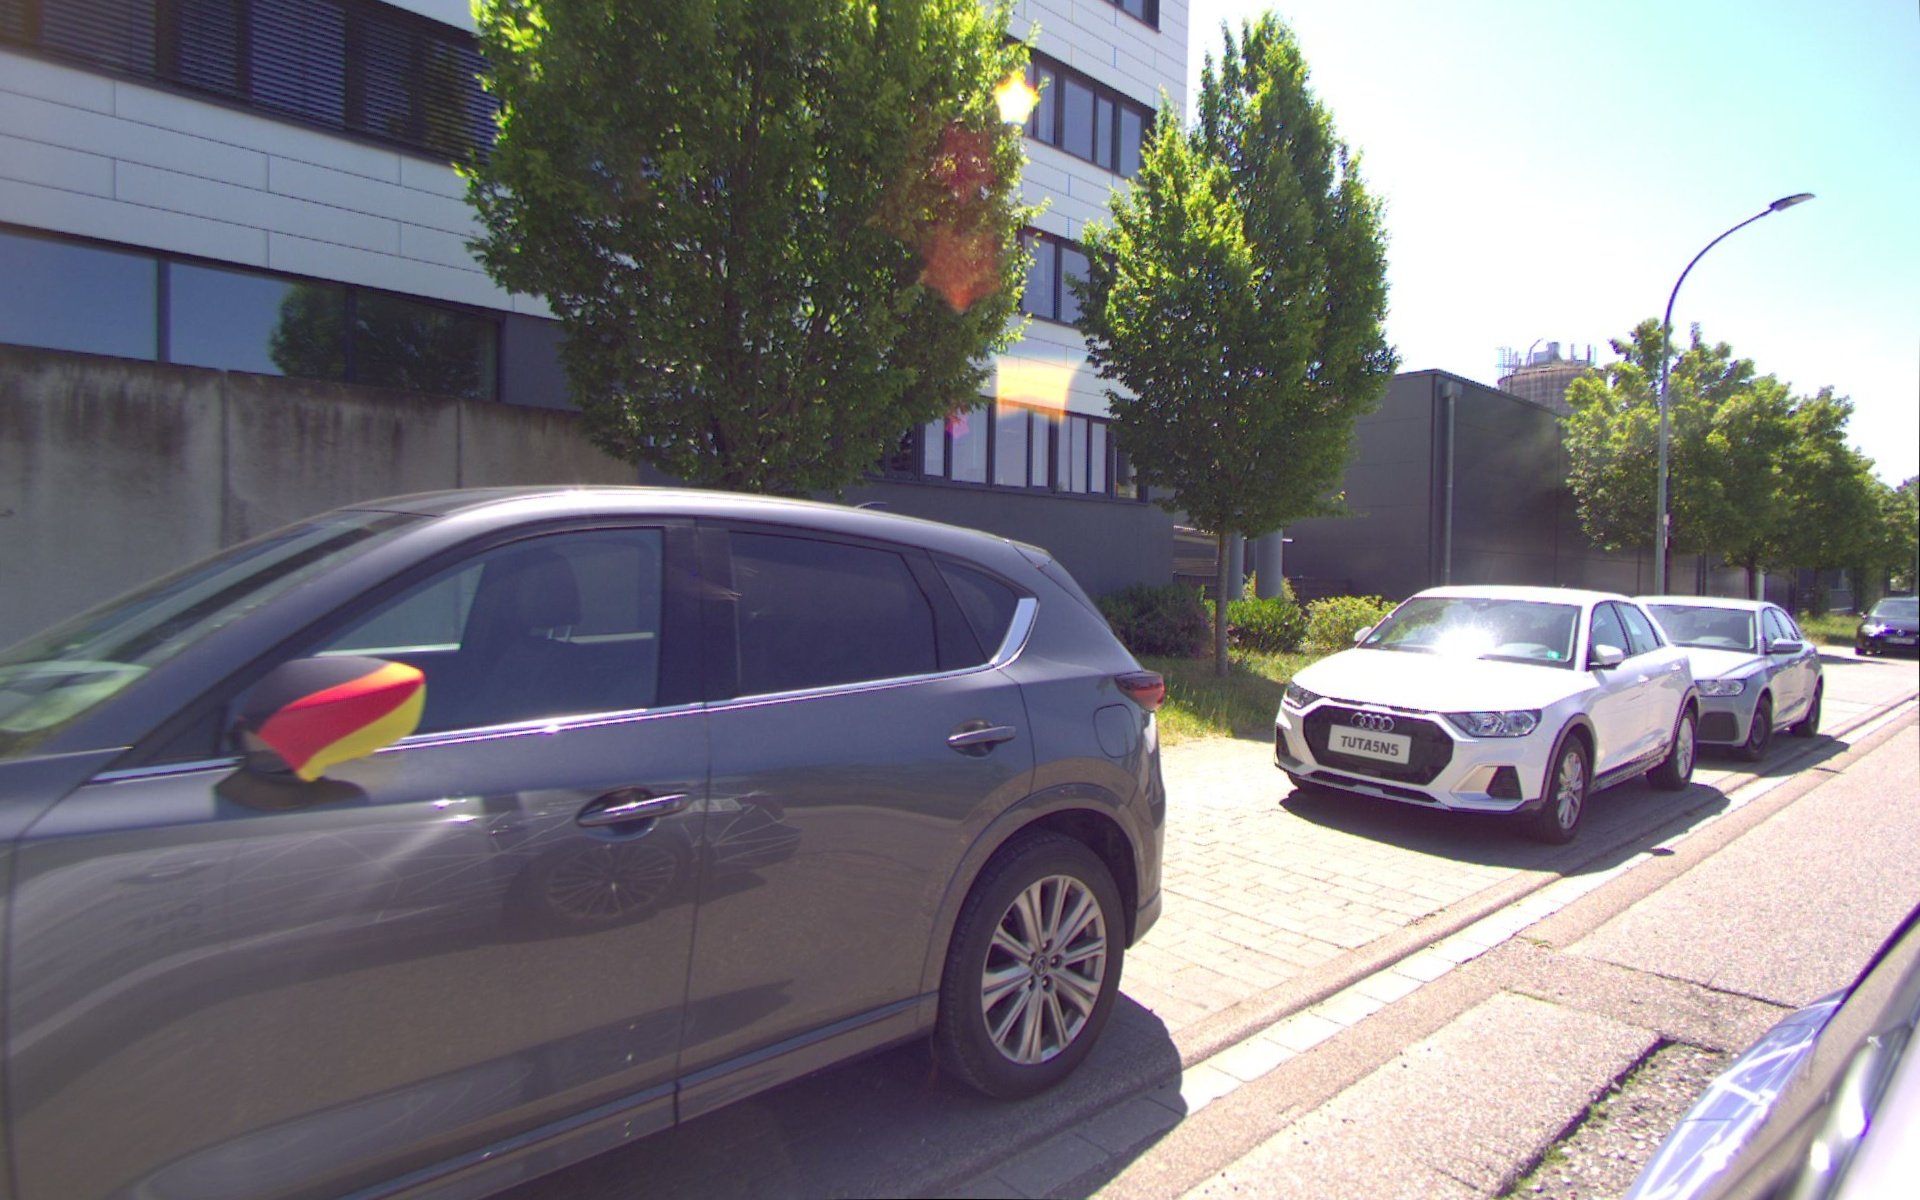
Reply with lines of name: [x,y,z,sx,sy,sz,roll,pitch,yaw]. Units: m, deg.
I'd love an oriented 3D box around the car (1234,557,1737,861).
car: [3.850,0.532,7.133,3.960,1.499,1.720,0,4,-41]

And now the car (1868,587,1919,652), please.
car: [24.101,0.469,25.224,4.195,1.494,1.695,0,3,-42]

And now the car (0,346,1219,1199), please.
car: [-1.415,0.450,2.437,4.286,1.683,1.762,0,3,-41]

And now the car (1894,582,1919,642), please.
car: [28.765,0.364,29.470,4.633,1.637,1.811,0,3,-42]

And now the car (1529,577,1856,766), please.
car: [7.433,0.565,10.142,3.881,1.440,1.720,0,4,-41]
